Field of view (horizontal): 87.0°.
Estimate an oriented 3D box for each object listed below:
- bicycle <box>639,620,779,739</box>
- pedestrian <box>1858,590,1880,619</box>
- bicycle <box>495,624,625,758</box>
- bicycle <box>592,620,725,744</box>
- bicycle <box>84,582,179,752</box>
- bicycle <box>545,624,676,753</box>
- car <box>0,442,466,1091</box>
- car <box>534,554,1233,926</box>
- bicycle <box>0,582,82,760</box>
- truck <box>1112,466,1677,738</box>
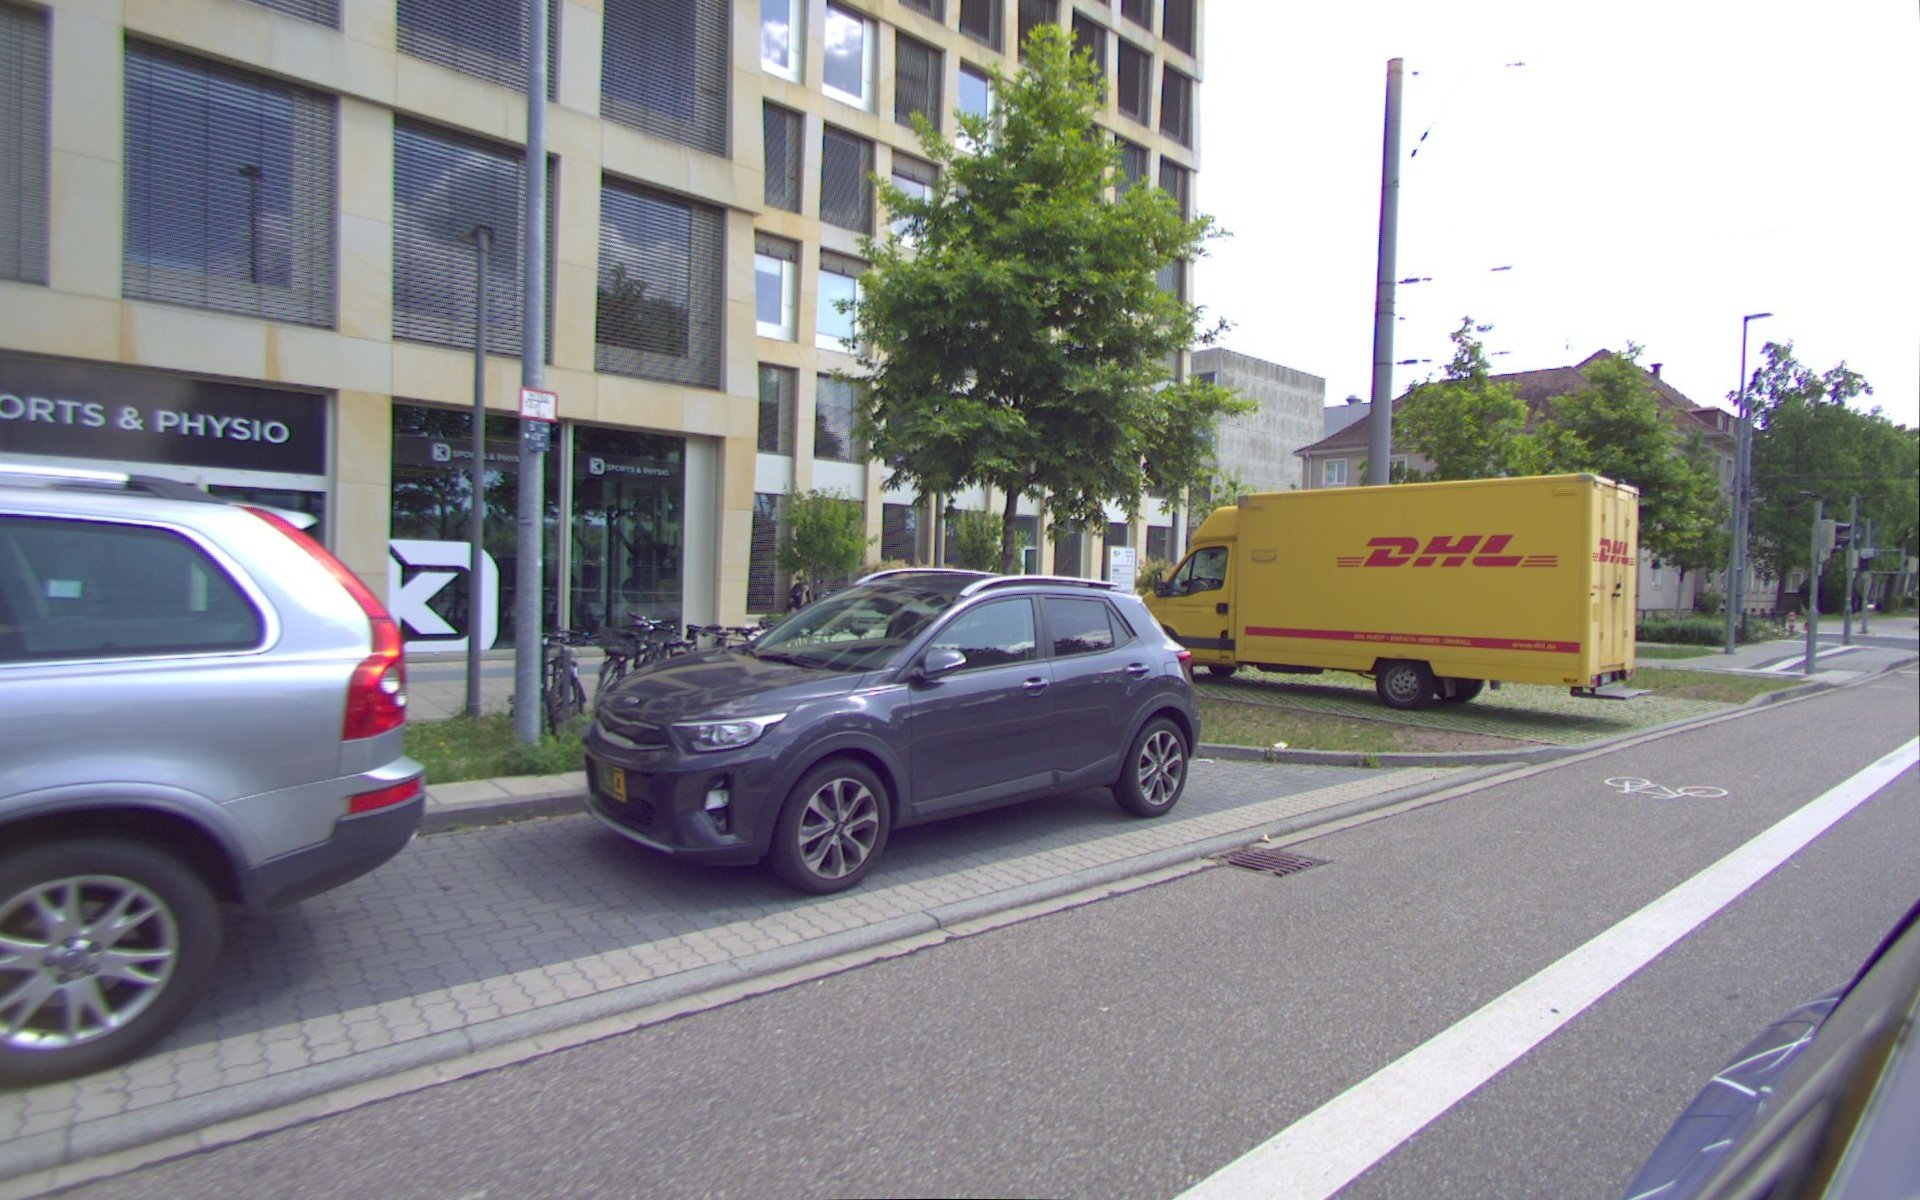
[{"bbox_3d":[-2.422,0.702,9.619,0.504,0.951,1.844,0,1,-41],"label":"bicycle"},{"bbox_3d":[52.758,0.235,58.724,0.615,1.627,0.622,3,3,13],"label":"pedestrian"},{"bbox_3d":[-3.459,0.726,8.663,0.432,0.951,1.844,0,1,-41],"label":"bicycle"},{"bbox_3d":[-2.795,0.699,9.267,0.432,0.951,1.844,0,1,-41],"label":"bicycle"},{"bbox_3d":[-5.624,0.425,6.840,0.432,1.007,1.843,0,-2,-41],"label":"bicycle"},{"bbox_3d":[-3.131,0.728,8.957,0.432,0.951,1.844,0,1,-41],"label":"bicycle"},{"bbox_3d":[-4.107,0.426,2.656,4.755,1.789,1.772,0,2,-41],"label":"car"},{"bbox_3d":[-0.237,0.549,6.137,3.997,1.523,1.695,0,2,-41],"label":"car"},{"bbox_3d":[-5.956,0.428,6.525,0.432,1.007,1.843,0,-2,-41],"label":"bicycle"},{"bbox_3d":[5.571,-0.136,14.115,2.413,2.902,6.816,0,3,-42],"label":"truck"}]
